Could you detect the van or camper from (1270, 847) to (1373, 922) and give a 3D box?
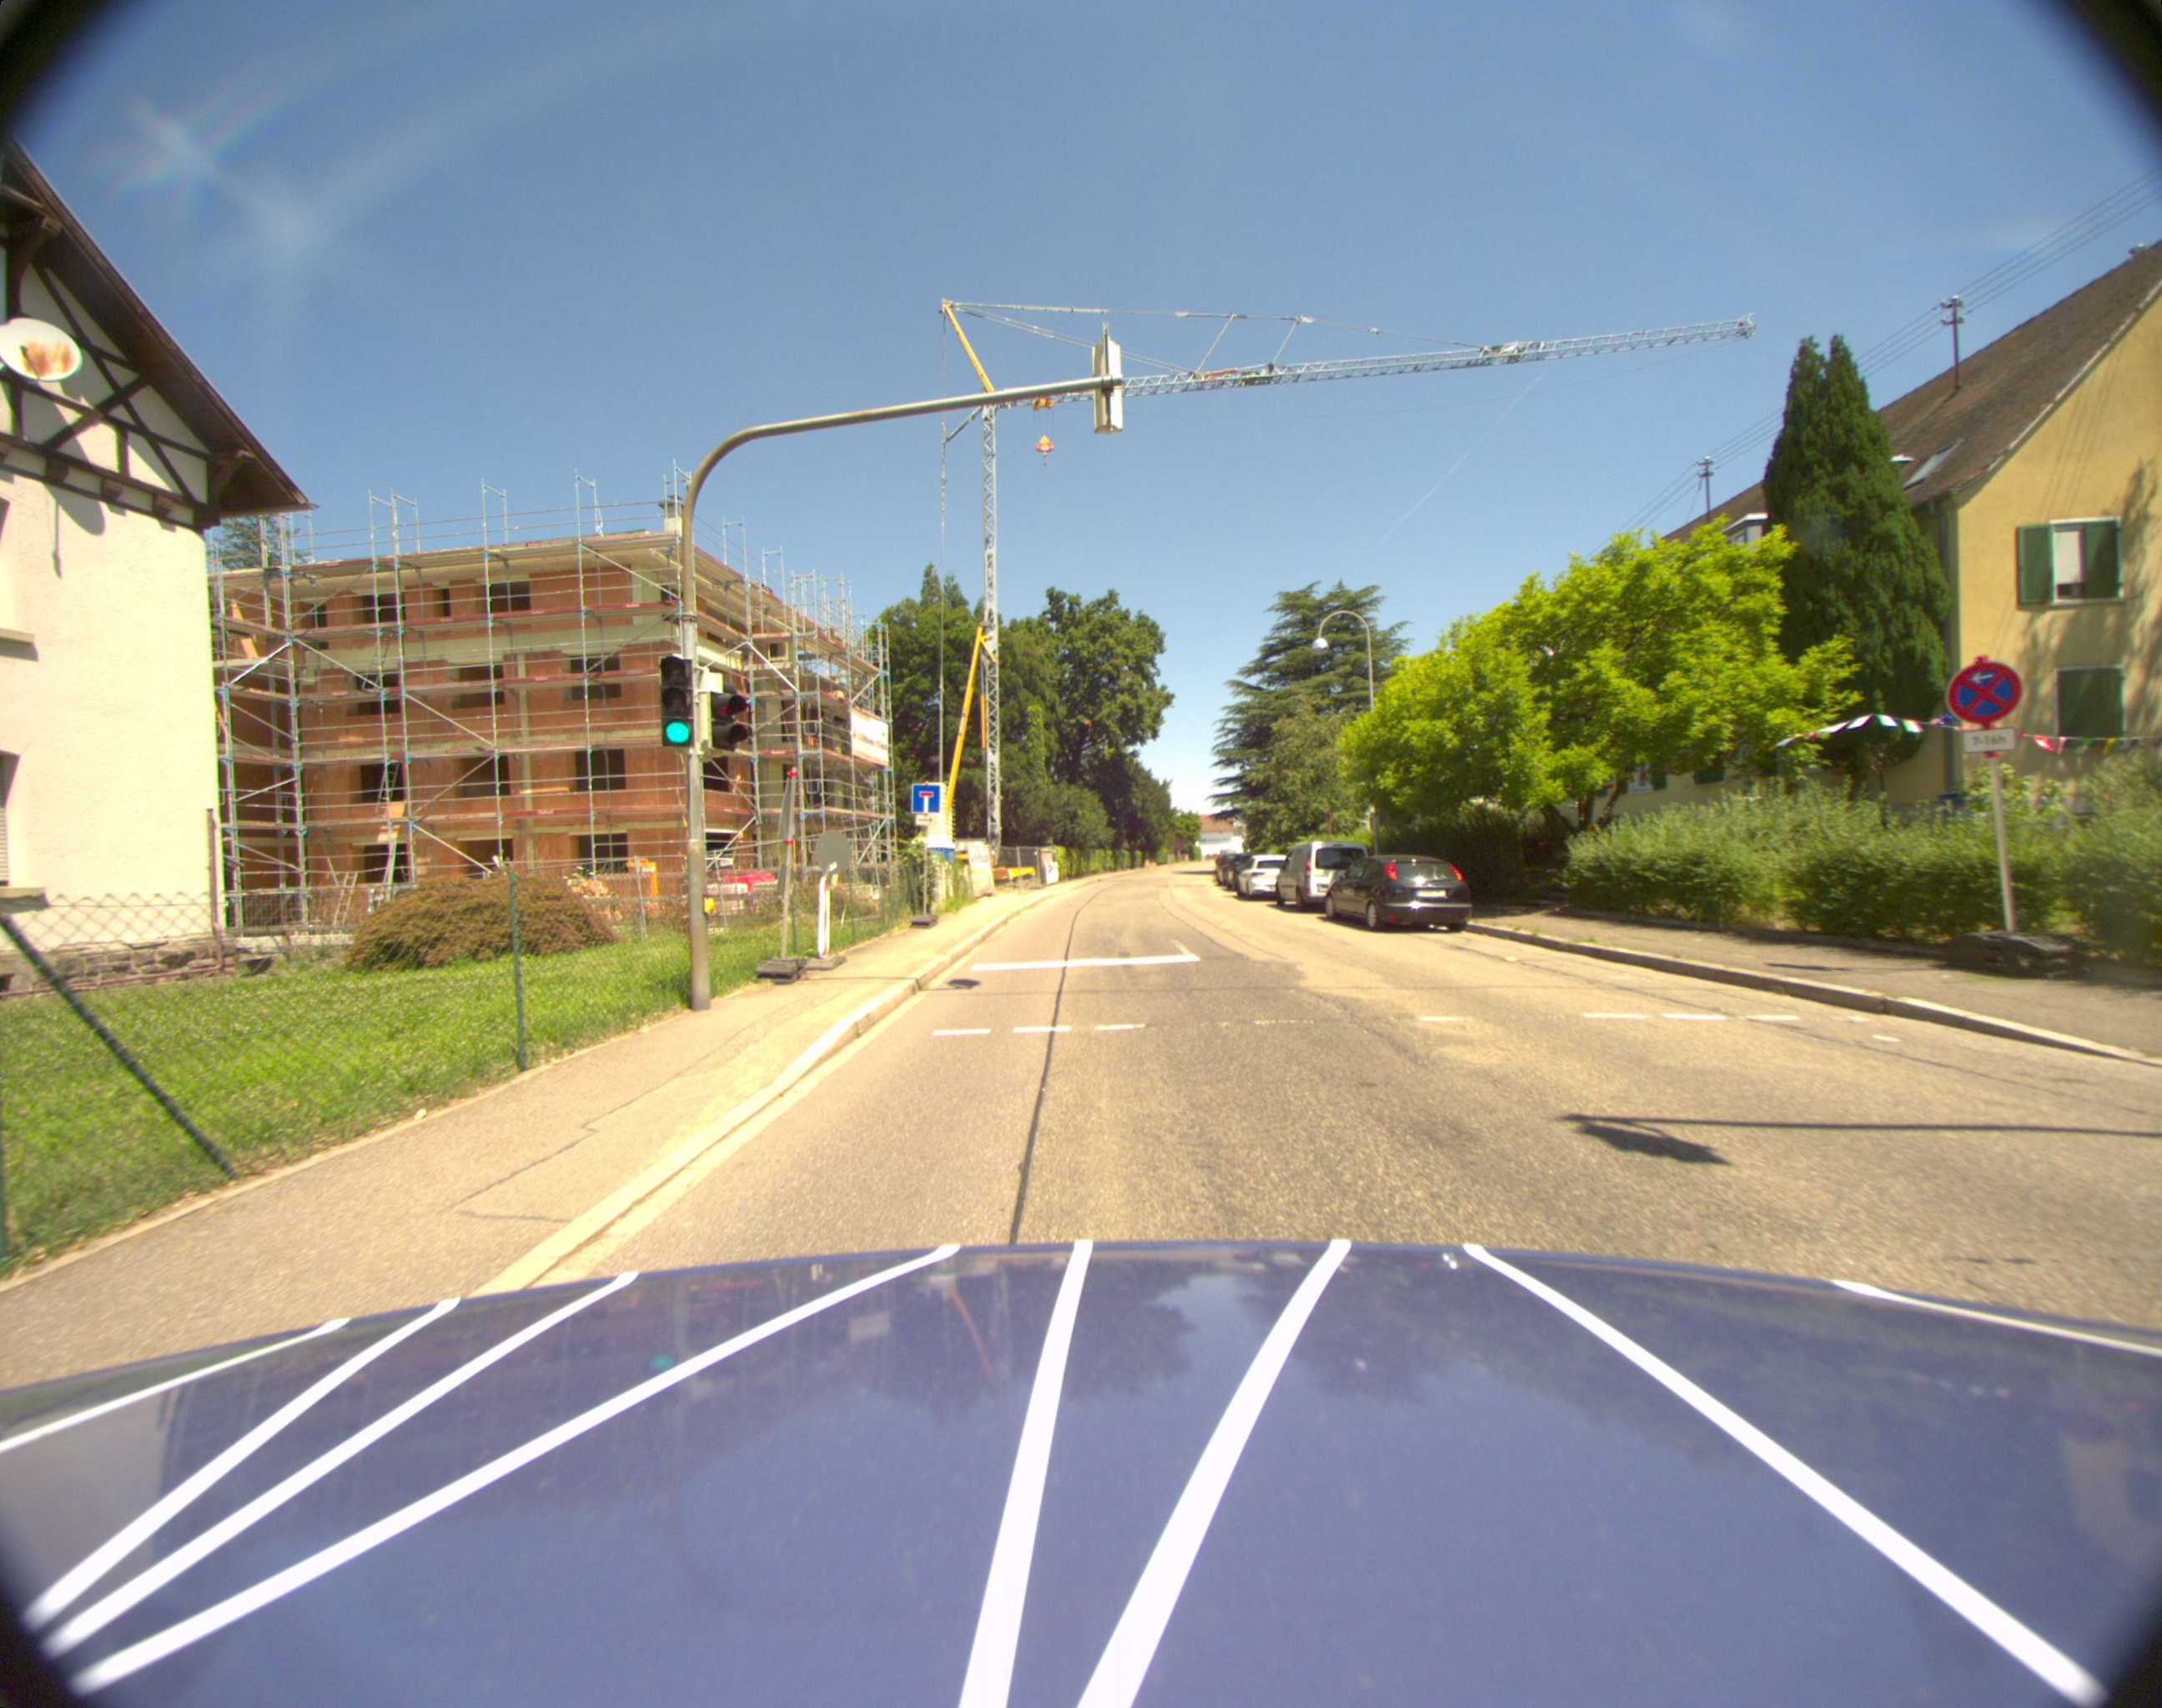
[{"bbox_3d":[6.233,0.731,20.111,1.685,1.793,3.986,-1,0,3],"label":"van or camper"}]

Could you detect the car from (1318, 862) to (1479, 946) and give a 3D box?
[{"bbox_3d":[6.157,0.902,15.238,1.685,1.404,3.927,-1,0,2],"label":"car"}]

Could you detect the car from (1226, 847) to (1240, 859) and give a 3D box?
[{"bbox_3d":[22.508,-0.220,112.457,1.891,1.749,3.616,0,1,13],"label":"car"}]

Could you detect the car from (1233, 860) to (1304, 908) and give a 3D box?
[{"bbox_3d":[6.195,0.931,25.527,1.684,1.432,4.249,-1,0,5],"label":"car"}]

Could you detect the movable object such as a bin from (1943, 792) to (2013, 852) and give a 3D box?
[{"bbox_3d":[18.555,-0.652,15.723,0.622,1.189,0.674,-2,0,3],"label":"movable object such as a bin"}]

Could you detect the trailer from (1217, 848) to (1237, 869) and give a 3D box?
[{"bbox_3d":[14.334,0.412,74.652,1.817,2.021,4.003,0,0,11],"label":"trailer"}]

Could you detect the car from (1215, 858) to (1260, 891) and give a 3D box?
[{"bbox_3d":[7.609,0.957,37.324,1.684,1.467,4.332,-1,0,5],"label":"car"}]

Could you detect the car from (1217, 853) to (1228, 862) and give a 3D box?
[{"bbox_3d":[26.410,0.696,141.858,1.902,1.565,4.144,-1,0,11],"label":"car"}]

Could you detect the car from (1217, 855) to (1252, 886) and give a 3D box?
[{"bbox_3d":[8.502,0.872,42.348,1.684,1.629,3.792,-1,0,8],"label":"car"}]

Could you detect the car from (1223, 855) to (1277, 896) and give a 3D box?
[{"bbox_3d":[7.068,0.850,32.105,1.684,1.627,4.332,-1,0,5],"label":"car"}]
